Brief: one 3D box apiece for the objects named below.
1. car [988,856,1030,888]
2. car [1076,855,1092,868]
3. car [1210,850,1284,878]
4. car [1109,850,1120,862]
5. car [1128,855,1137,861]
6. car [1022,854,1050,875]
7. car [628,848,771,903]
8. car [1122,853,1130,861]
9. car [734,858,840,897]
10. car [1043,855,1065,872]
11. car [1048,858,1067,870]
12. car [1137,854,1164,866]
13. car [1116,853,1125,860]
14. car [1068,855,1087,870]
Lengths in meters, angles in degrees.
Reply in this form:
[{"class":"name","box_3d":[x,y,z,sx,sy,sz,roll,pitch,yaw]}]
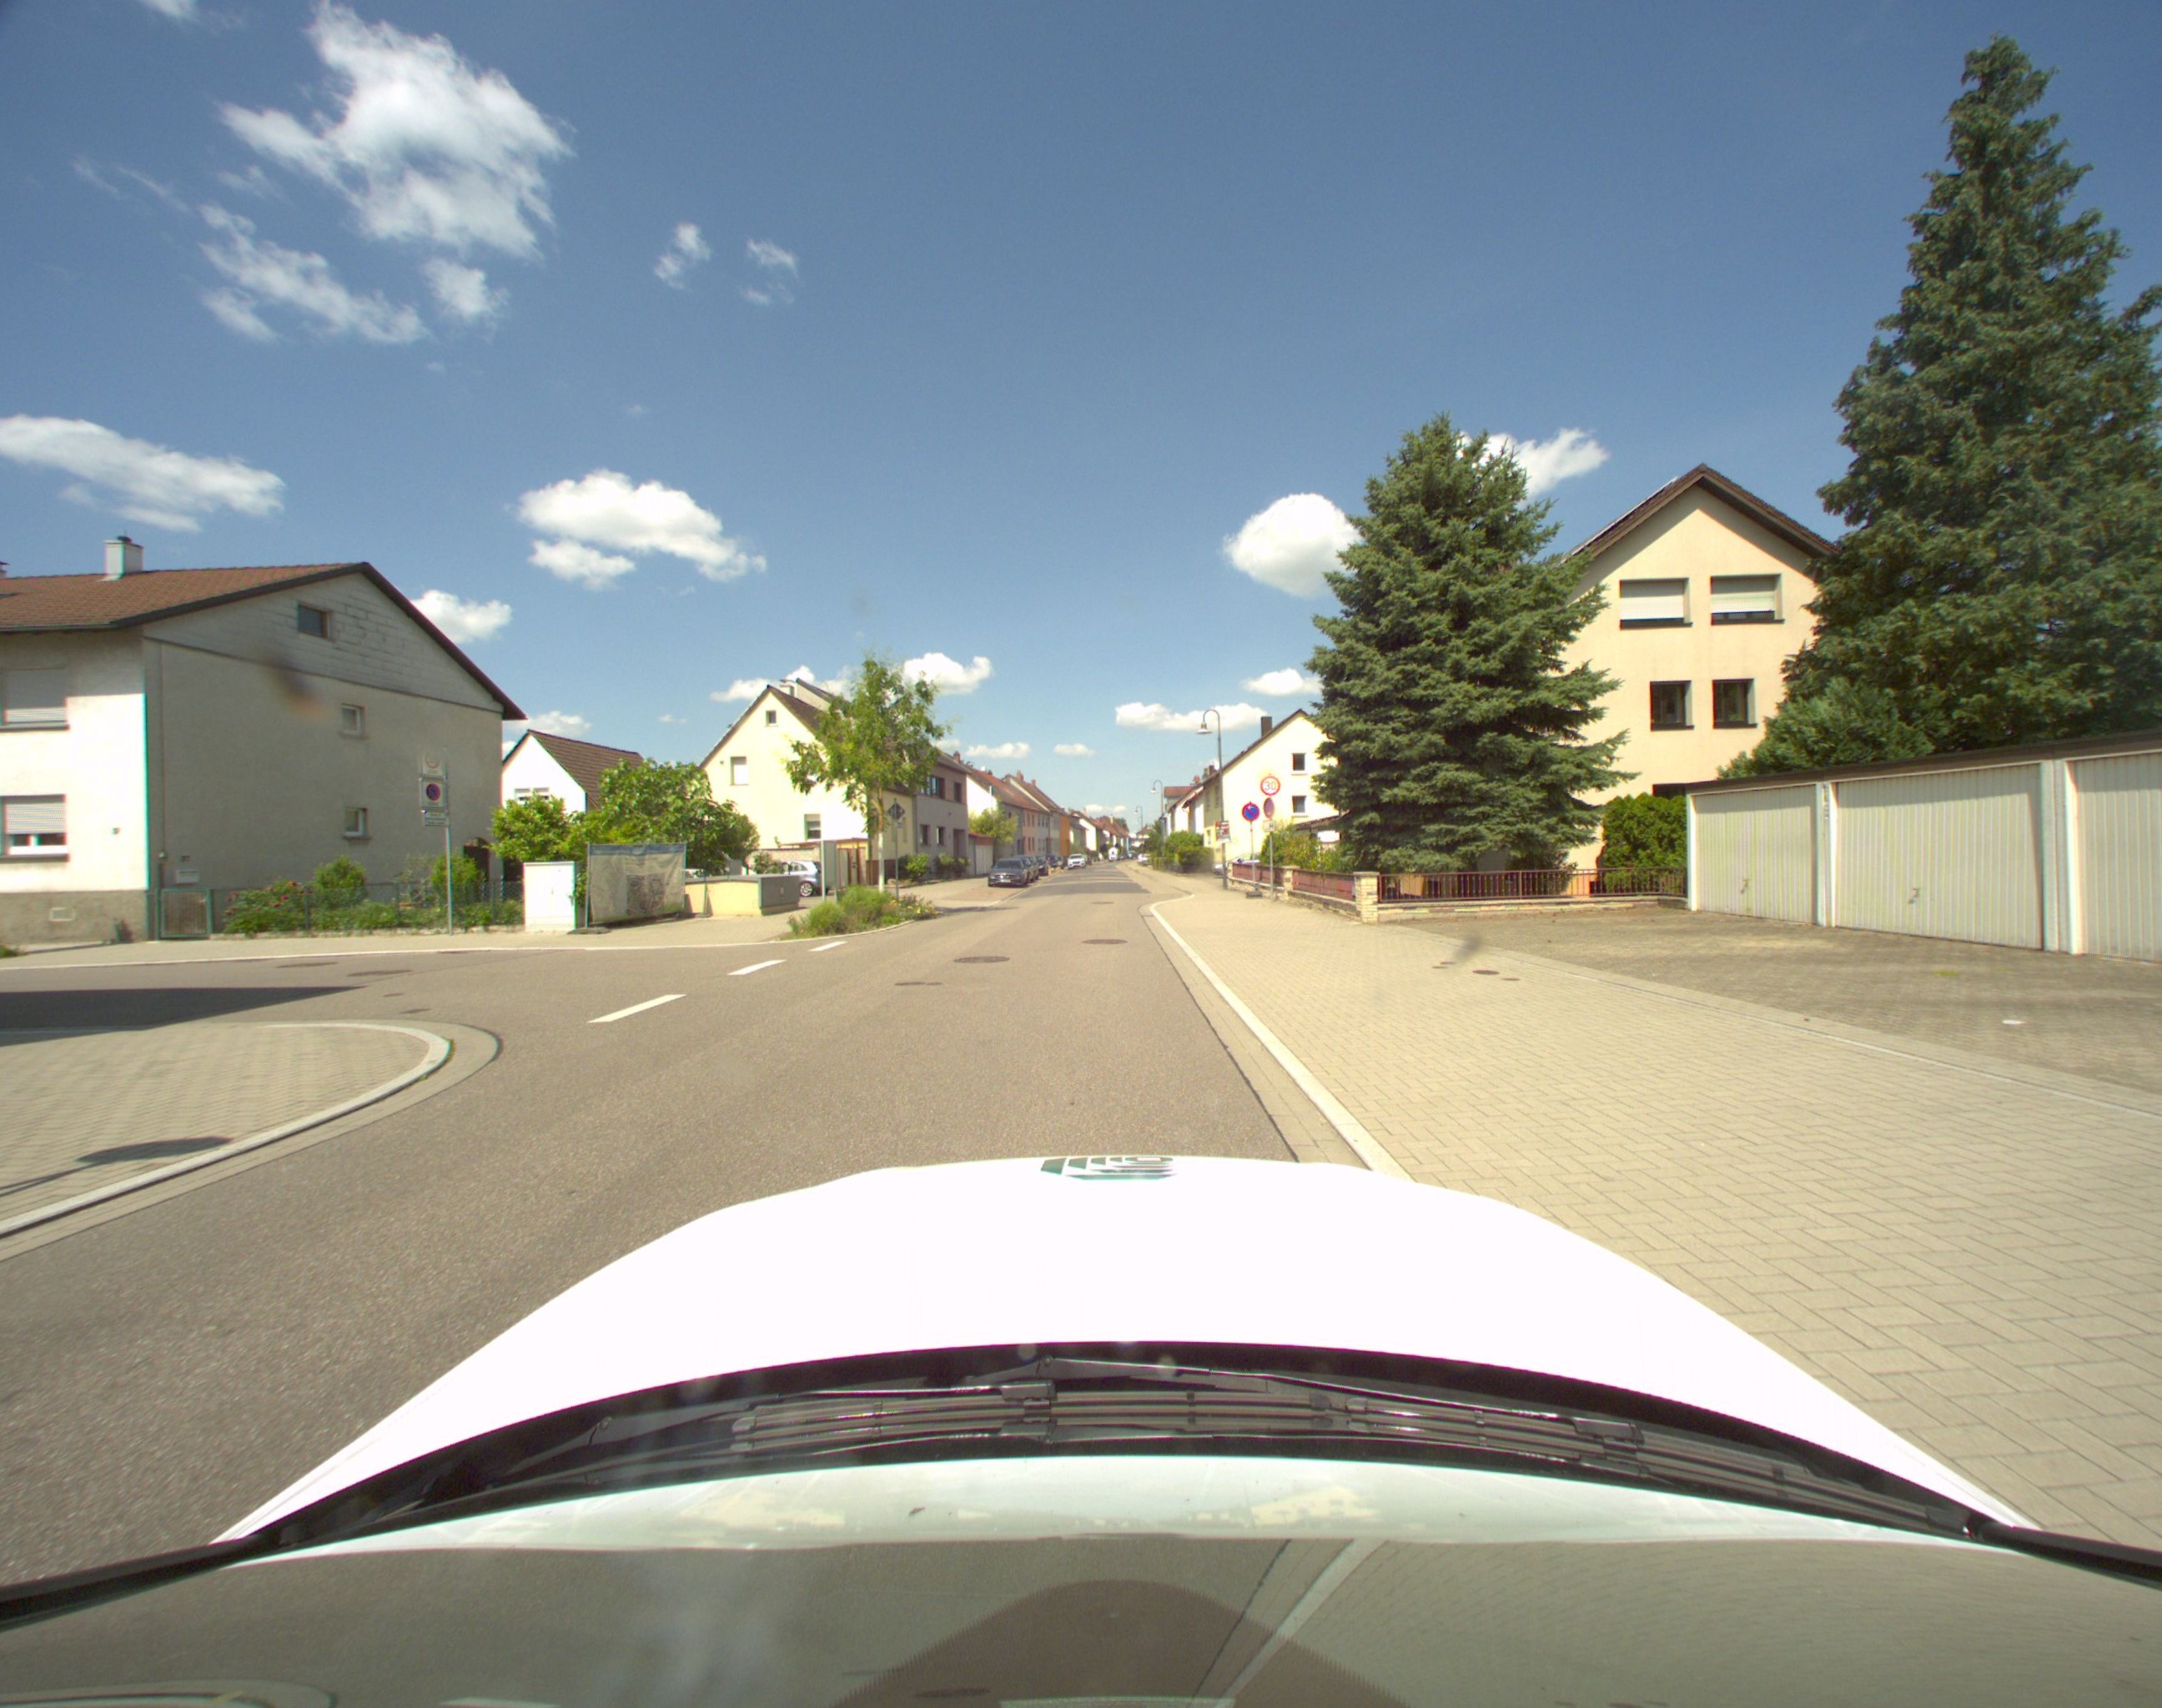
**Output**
[{"class":"car","box_3d":[-3.747,0.907,42.988,1.811,1.433,4.139,2,1,-1]},{"class":"car","box_3d":[0.475,1.028,112.867,1.841,1.659,4.005,1,0,5]},{"class":"car","box_3d":[9.581,0.547,47.225,3.971,1.473,1.747,-2,0,2]},{"class":"car","box_3d":[6.661,0.459,161.496,2.035,2.312,3.777,0,-1,6]},{"class":"car","box_3d":[11.301,0.899,179.086,1.683,1.341,3.777,0,-1,6]},{"class":"car","box_3d":[-3.507,0.794,63.982,1.772,1.609,4.002,1,0,2]},{"class":"car","box_3d":[-13.086,0.705,28.091,3.970,1.800,2.002,0,0,3]},{"class":"car","box_3d":[10.543,0.689,191.031,1.683,1.660,3.777,0,-1,6]},{"class":"car","box_3d":[-11.617,0.889,32.319,3.507,1.471,1.795,0,0,6]},{"class":"car","box_3d":[-2.550,0.878,78.751,1.803,1.609,4.002,1,0,2]},{"class":"car","box_3d":[-2.585,1.082,90.933,1.664,1.336,3.727,1,0,5]},{"class":"car","box_3d":[9.204,0.784,107.455,3.509,1.464,1.629,0,-1,2]},{"class":"car","box_3d":[8.942,0.602,183.595,1.683,1.504,3.777,0,-1,6]},{"class":"car","box_3d":[-0.353,0.908,91.855,1.841,1.659,4.005,1,0,5]}]
